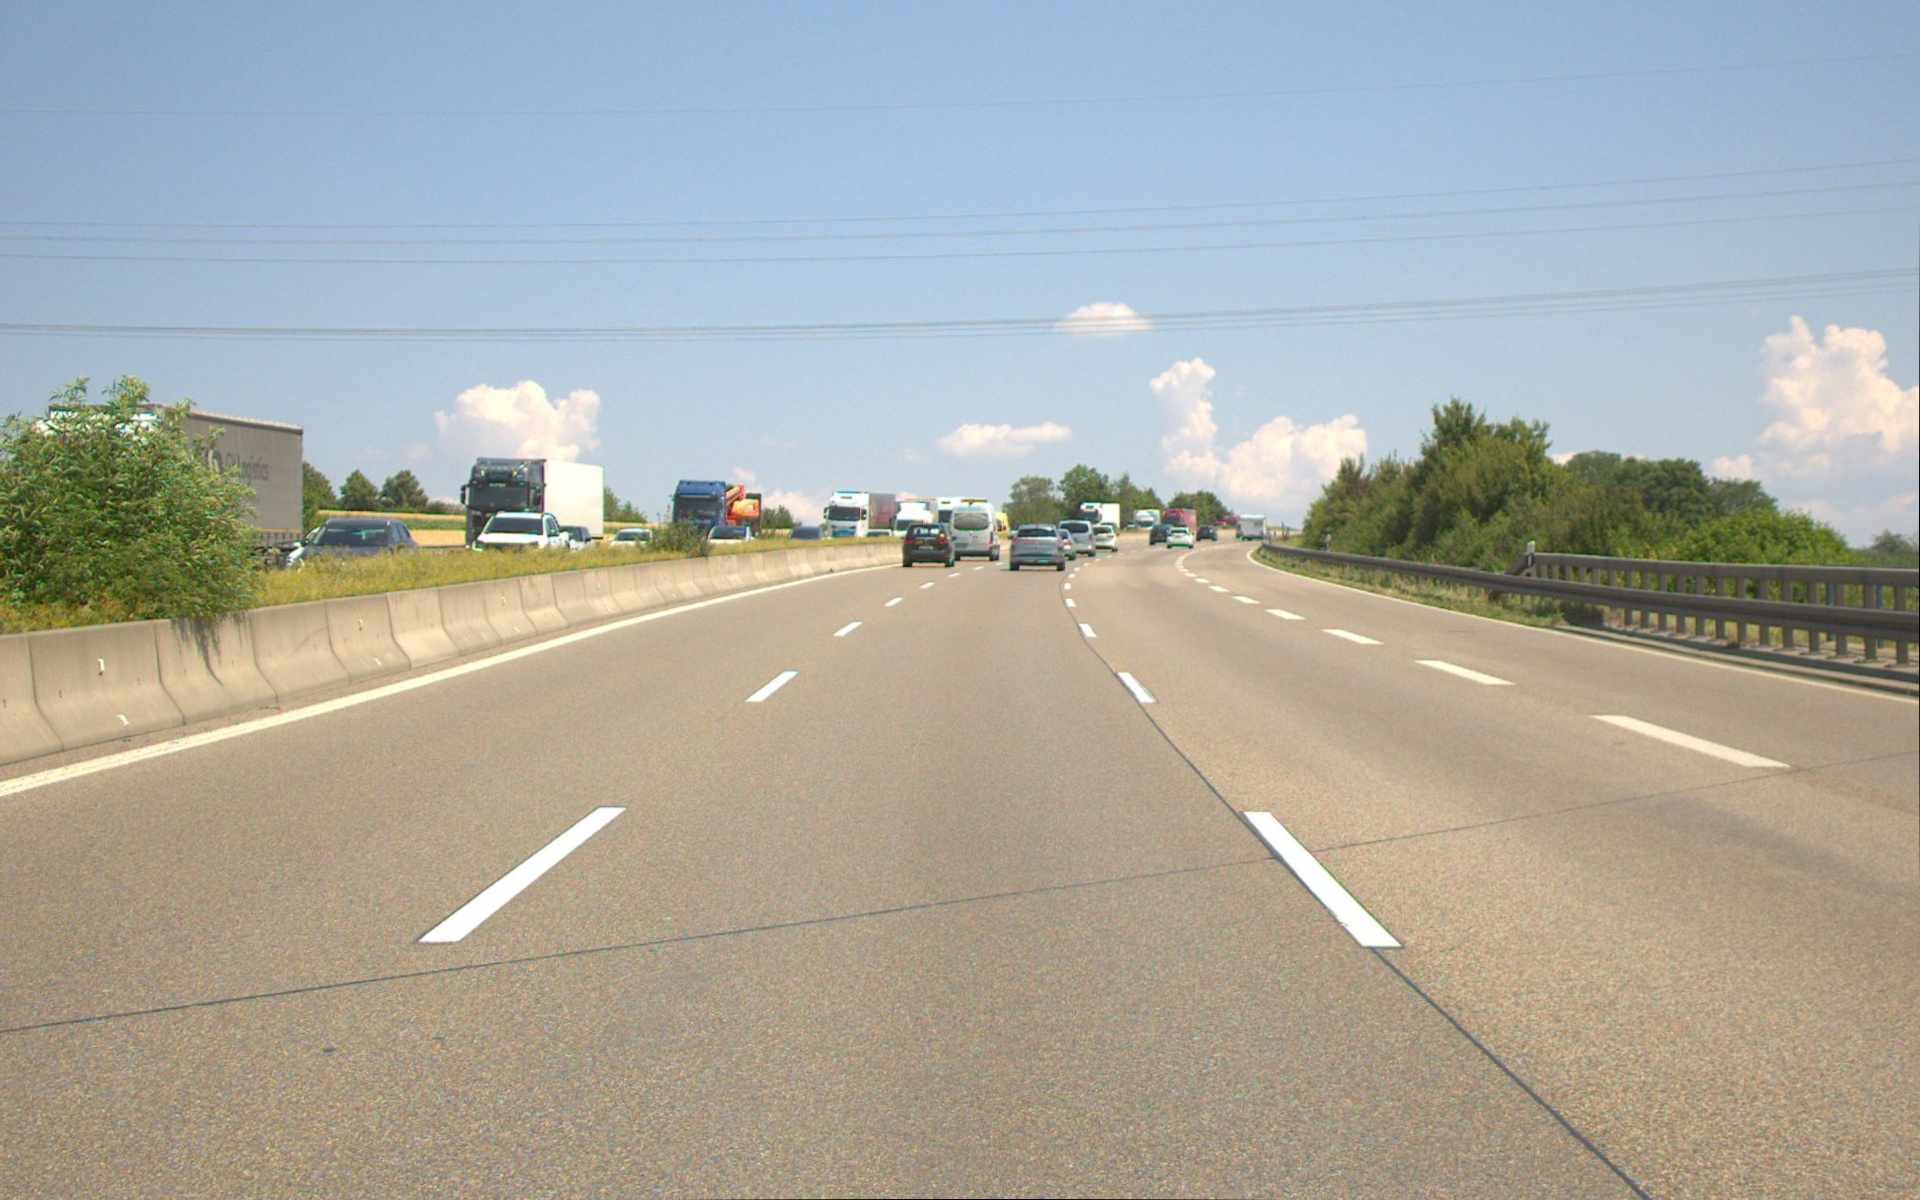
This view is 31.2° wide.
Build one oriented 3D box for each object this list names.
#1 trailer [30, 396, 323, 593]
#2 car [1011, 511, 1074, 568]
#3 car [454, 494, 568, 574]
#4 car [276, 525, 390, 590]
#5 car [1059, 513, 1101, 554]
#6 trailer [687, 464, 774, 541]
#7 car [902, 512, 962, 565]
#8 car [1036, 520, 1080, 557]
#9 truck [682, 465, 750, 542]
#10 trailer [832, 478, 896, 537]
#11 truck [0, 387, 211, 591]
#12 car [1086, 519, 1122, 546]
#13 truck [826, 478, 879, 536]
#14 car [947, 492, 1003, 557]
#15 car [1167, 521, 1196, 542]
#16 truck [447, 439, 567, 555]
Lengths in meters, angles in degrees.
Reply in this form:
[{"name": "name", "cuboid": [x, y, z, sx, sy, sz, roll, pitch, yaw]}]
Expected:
[{"name": "trailer", "cuboid": [-18.675, -2.452, 83.256, 3.124, 4.309, 14.544, 1, 1, 2]}, {"name": "car", "cuboid": [2.849, -2.070, 117.926, 1.994, 1.744, 3.999, 1, -1, 3]}, {"name": "car", "cuboid": [-11.196, -1.621, 86.093, 1.993, 1.897, 5.676, 1, 1, 1]}, {"name": "car", "cuboid": [-14.713, -1.012, 80.867, 1.843, 1.455, 4.491, 1, 1, 0]}, {"name": "car", "cuboid": [6.148, -3.410, 176.649, 1.993, 1.897, 4.000, 1, -1, 0]}, {"name": "trailer", "cuboid": [-12.332, -5.193, 185.948, 2.839, 3.944, 13.726, 1, 1, 4]}, {"name": "car", "cuboid": [-1.004, -2.276, 126.142, 1.847, 1.854, 4.205, 1, 2, 4]}, {"name": "car", "cuboid": [4.526, -2.811, 158.046, 1.993, 1.579, 4.000, 0, 0, 2]}, {"name": "truck", "cuboid": [-12.730, -5.038, 179.634, 2.776, 3.924, 6.138, 1, 1, 3]}, {"name": "trailer", "cuboid": [-6.922, -6.673, 249.477, 2.794, 4.091, 14.004, 1, 1, 6]}, {"name": "truck", "cuboid": [-19.013, -2.418, 76.438, 3.132, 4.313, 6.147, 1, 1, 2]}, {"name": "car", "cuboid": [8.774, -4.130, 209.459, 1.994, 1.546, 4.000, 2, 2, 4]}, {"name": "truck", "cuboid": [-7.591, -6.543, 242.817, 2.853, 4.013, 6.513, 1, 1, 6]}, {"name": "car", "cuboid": [0.683, -3.305, 151.554, 2.180, 2.616, 4.671, 1, -1, 4]}, {"name": "car", "cuboid": [15.521, -4.813, 240.464, 1.902, 1.437, 4.000, 1, 1, 5]}, {"name": "truck", "cuboid": [-16.957, -3.855, 129.062, 3.226, 4.192, 7.126, 1, 1, 3]}]
